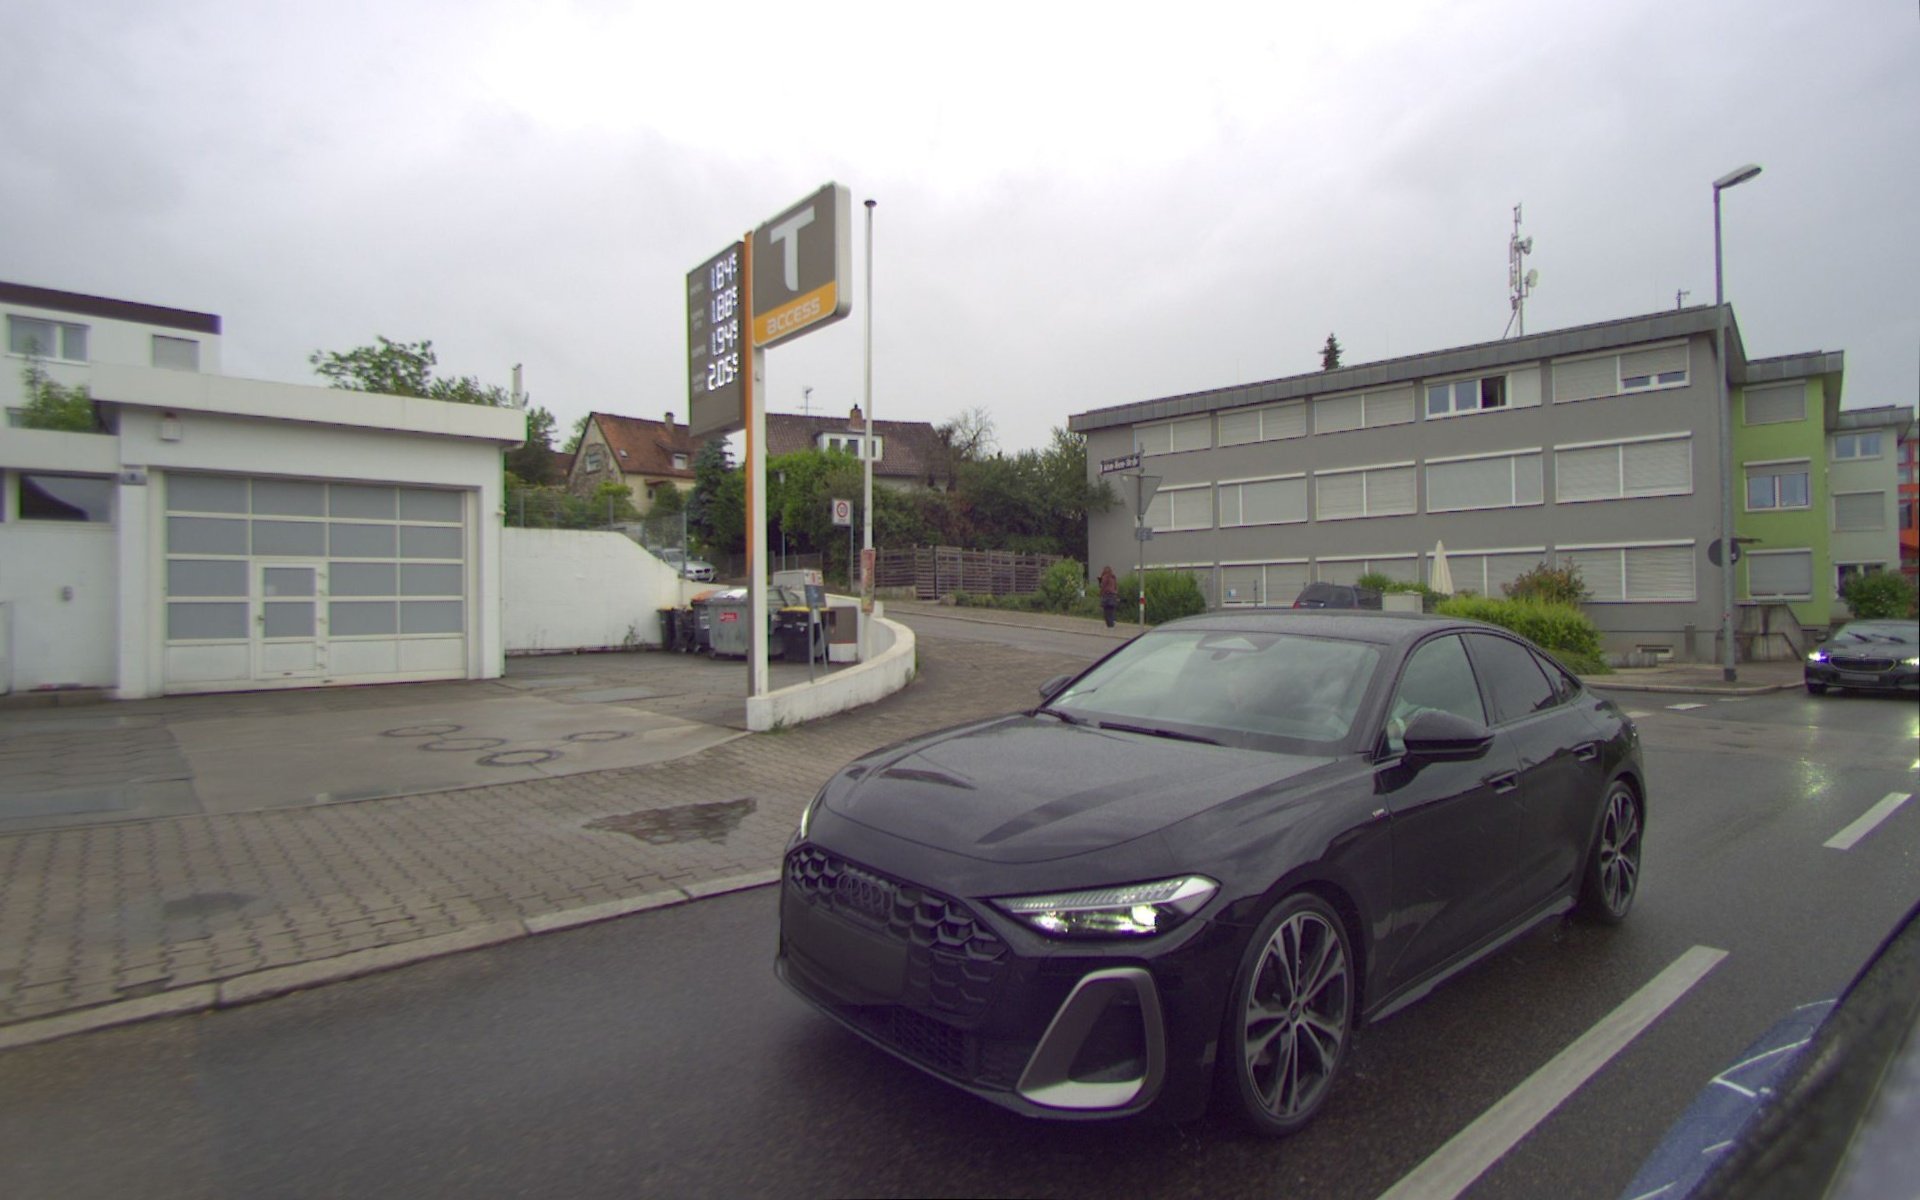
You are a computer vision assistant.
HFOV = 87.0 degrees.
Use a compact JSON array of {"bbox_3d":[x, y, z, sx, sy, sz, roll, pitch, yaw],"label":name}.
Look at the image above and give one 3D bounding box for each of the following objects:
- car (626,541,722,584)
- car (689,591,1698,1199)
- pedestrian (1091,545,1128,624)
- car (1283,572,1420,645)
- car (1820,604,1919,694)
[{"bbox_3d":[-11.149,-1.494,39.303,1.968,1.492,3.992,-3,6,-44],"label":"car"},{"bbox_3d":[1.417,0.720,4.366,4.657,1.442,1.869,-1,1,-41],"label":"car"},{"bbox_3d":[3.916,-0.426,26.559,0.714,2.038,0.606,2,2,40],"label":"pedestrian"},{"bbox_3d":[9.591,0.132,24.620,1.809,1.545,3.940,4,4,41],"label":"car"},{"bbox_3d":[18.486,0.884,19.836,3.930,1.538,1.871,-1,1,-40],"label":"car"}]
